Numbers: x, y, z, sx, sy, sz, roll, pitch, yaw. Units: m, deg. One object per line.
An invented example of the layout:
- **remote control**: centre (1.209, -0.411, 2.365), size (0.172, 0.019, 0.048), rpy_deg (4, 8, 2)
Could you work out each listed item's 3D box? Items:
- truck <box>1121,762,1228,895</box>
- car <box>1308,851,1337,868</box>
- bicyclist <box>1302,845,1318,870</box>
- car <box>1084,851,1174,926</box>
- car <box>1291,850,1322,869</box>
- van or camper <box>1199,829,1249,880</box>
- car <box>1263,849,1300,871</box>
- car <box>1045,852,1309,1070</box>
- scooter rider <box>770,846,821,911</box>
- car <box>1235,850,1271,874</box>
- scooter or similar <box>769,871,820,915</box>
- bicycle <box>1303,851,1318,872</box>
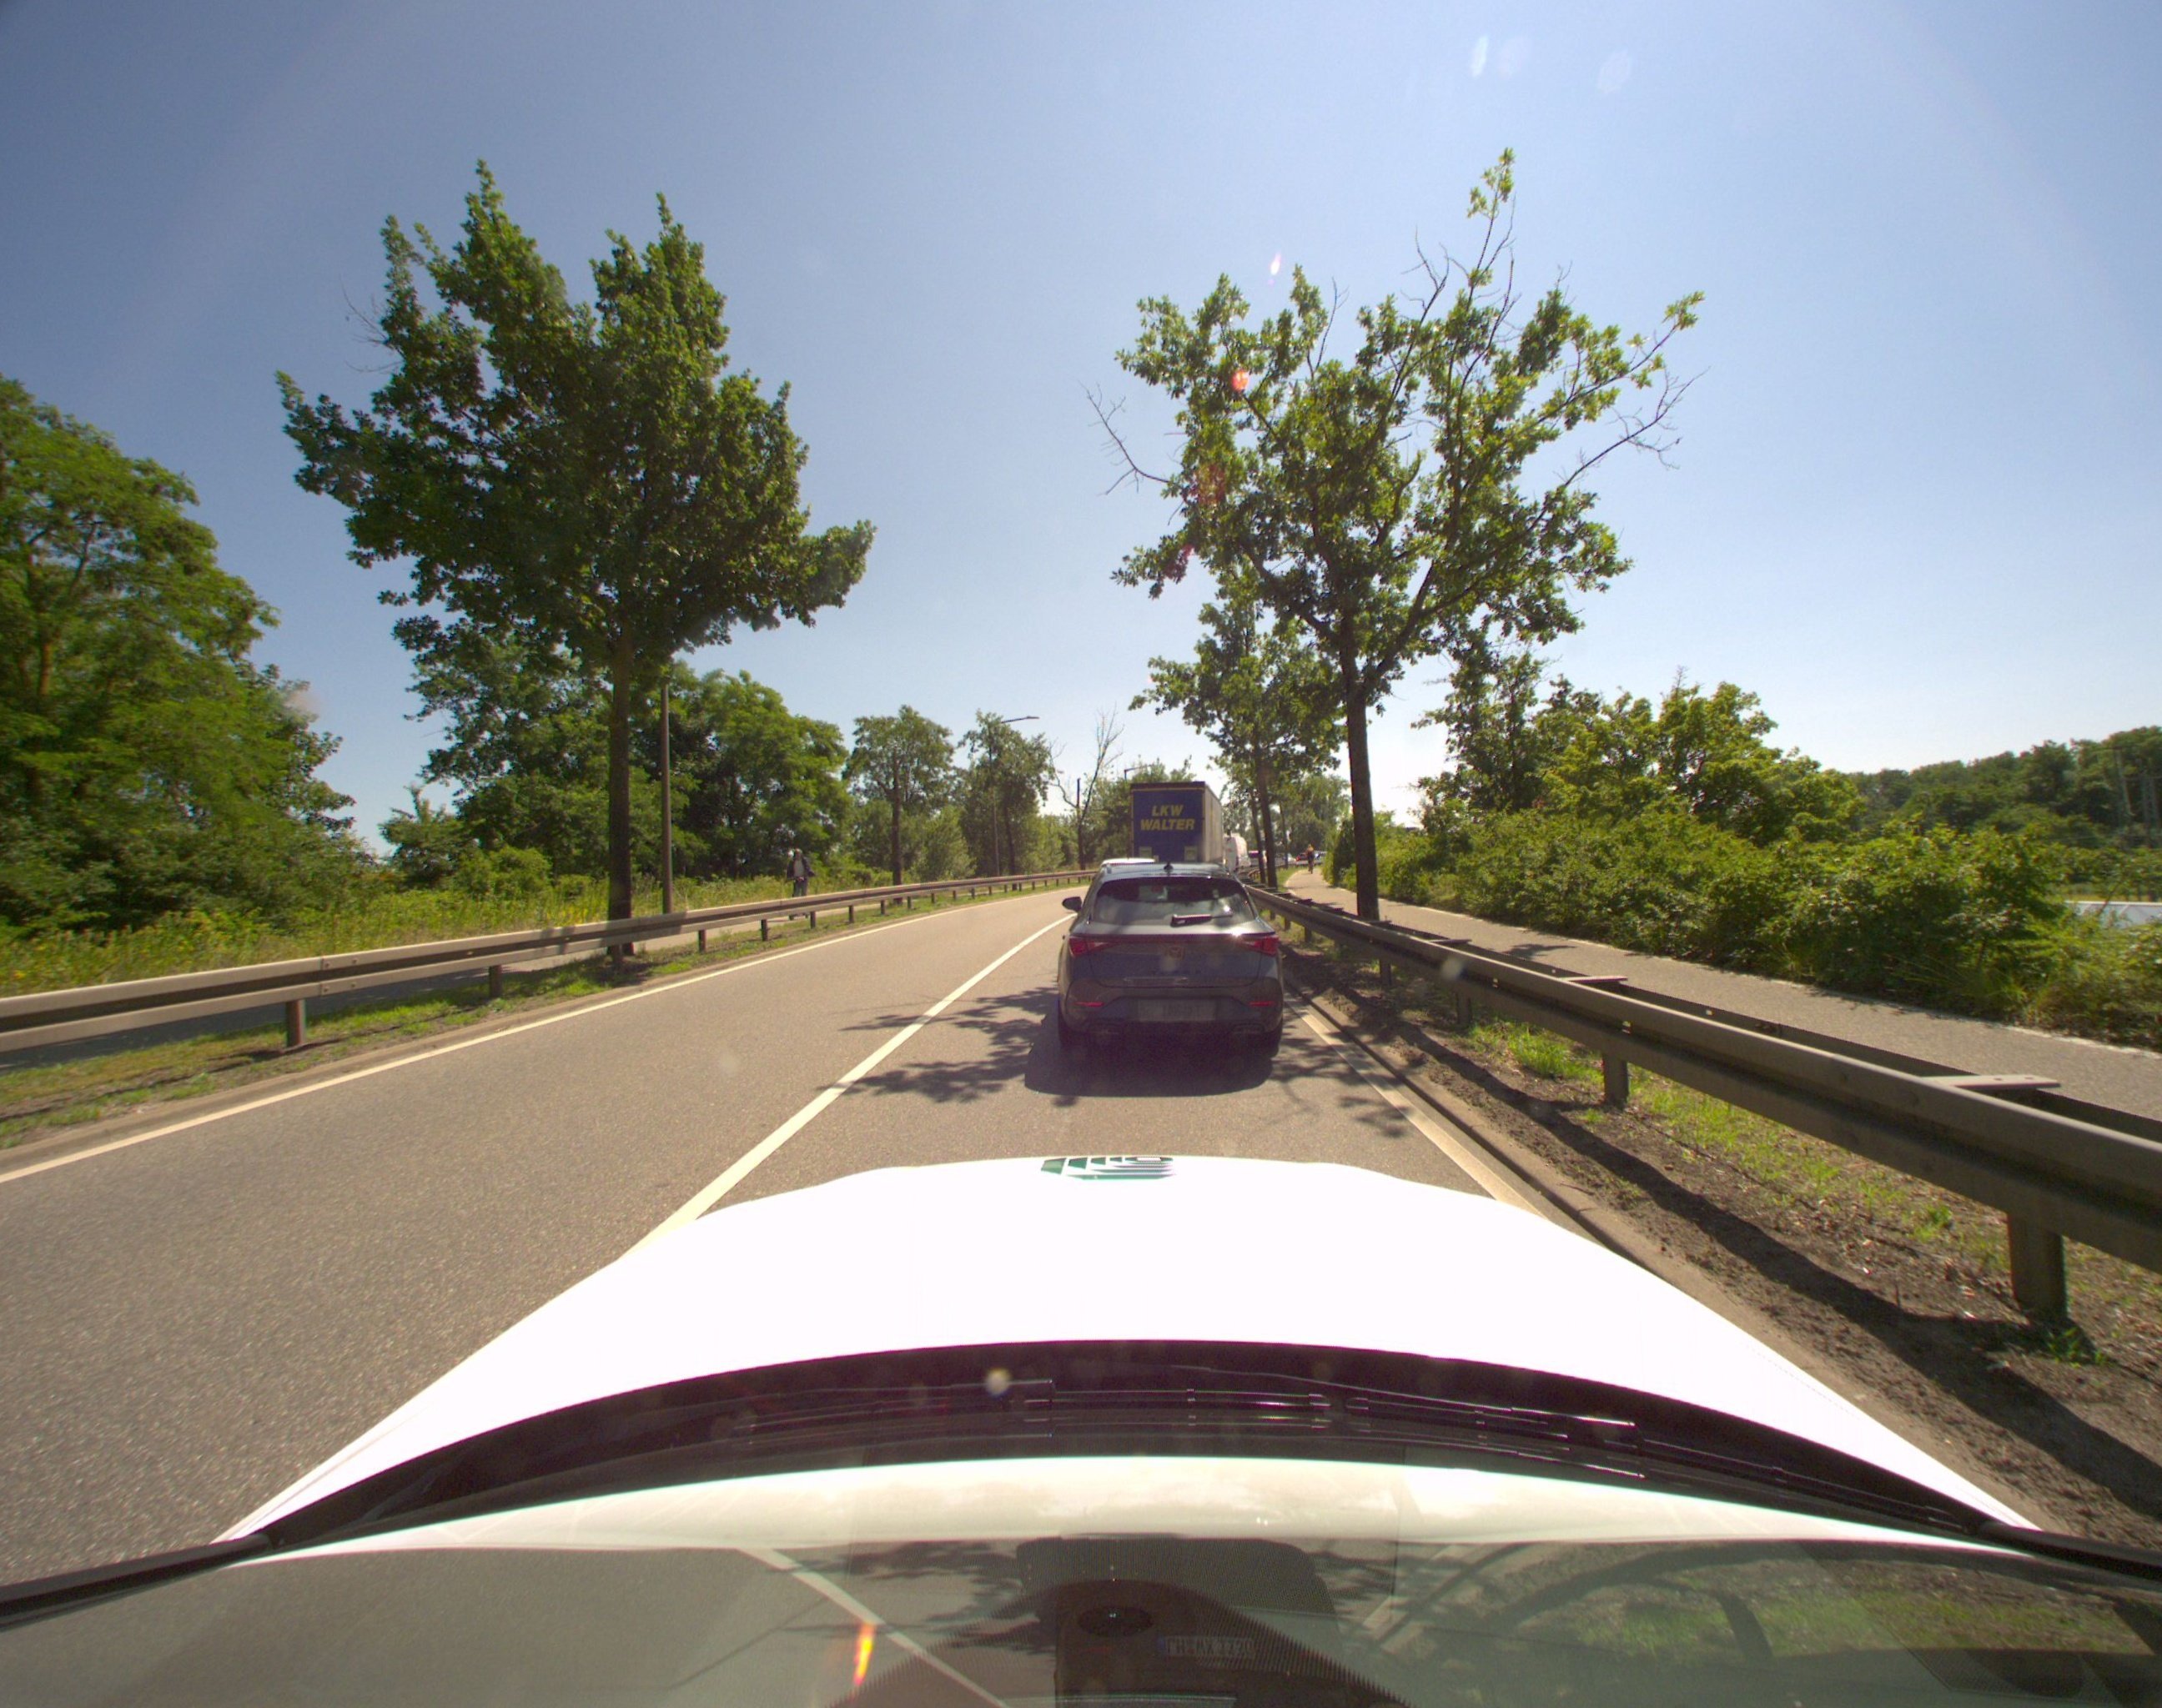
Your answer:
- **truck**: centre (4.625, -0.809, 35.714), size (2.930, 4.449, 16.854), rpy_deg (-1, 0, 12)
- **car**: centre (25.321, 0.589, 85.264), size (1.975, 1.768, 4.783), rpy_deg (-1, 0, 28)
- **bicyclist**: centre (13.918, 0.203, 49.496), size (0.854, 1.523, 0.984), rpy_deg (-1, -1, 14)
- **car**: centre (1.153, 0.722, 18.604), size (1.801, 1.508, 4.005), rpy_deg (-1, 0, 5)
- **car**: centre (21.830, 0.529, 78.799), size (1.975, 1.717, 4.897), rpy_deg (-1, 0, 26)
- **van or camper**: centre (9.131, 0.036, 51.497), size (2.447, 2.998, 6.112), rpy_deg (-1, 0, 16)
- **car**: centre (17.057, 0.527, 69.024), size (1.975, 1.808, 4.874), rpy_deg (-1, 0, 26)
- **car**: centre (0.675, 0.721, 7.339), size (1.738, 1.432, 3.880), rpy_deg (-1, 0, 1)
- **scooter rider**: centre (-7.418, 0.626, 21.175), size (0.772, 1.657, 1.124), rpy_deg (-1, -1, 12)
- **car**: centre (12.965, 0.607, 61.088), size (1.977, 1.712, 4.643), rpy_deg (-1, 0, 20)
- **scooter or similar**: centre (-7.421, 0.994, 21.138), size (0.772, 1.091, 1.098), rpy_deg (-1, -1, 11)
- **bicycle**: centre (13.969, 0.455, 49.586), size (0.854, 1.237, 2.319), rpy_deg (-1, 0, 14)
